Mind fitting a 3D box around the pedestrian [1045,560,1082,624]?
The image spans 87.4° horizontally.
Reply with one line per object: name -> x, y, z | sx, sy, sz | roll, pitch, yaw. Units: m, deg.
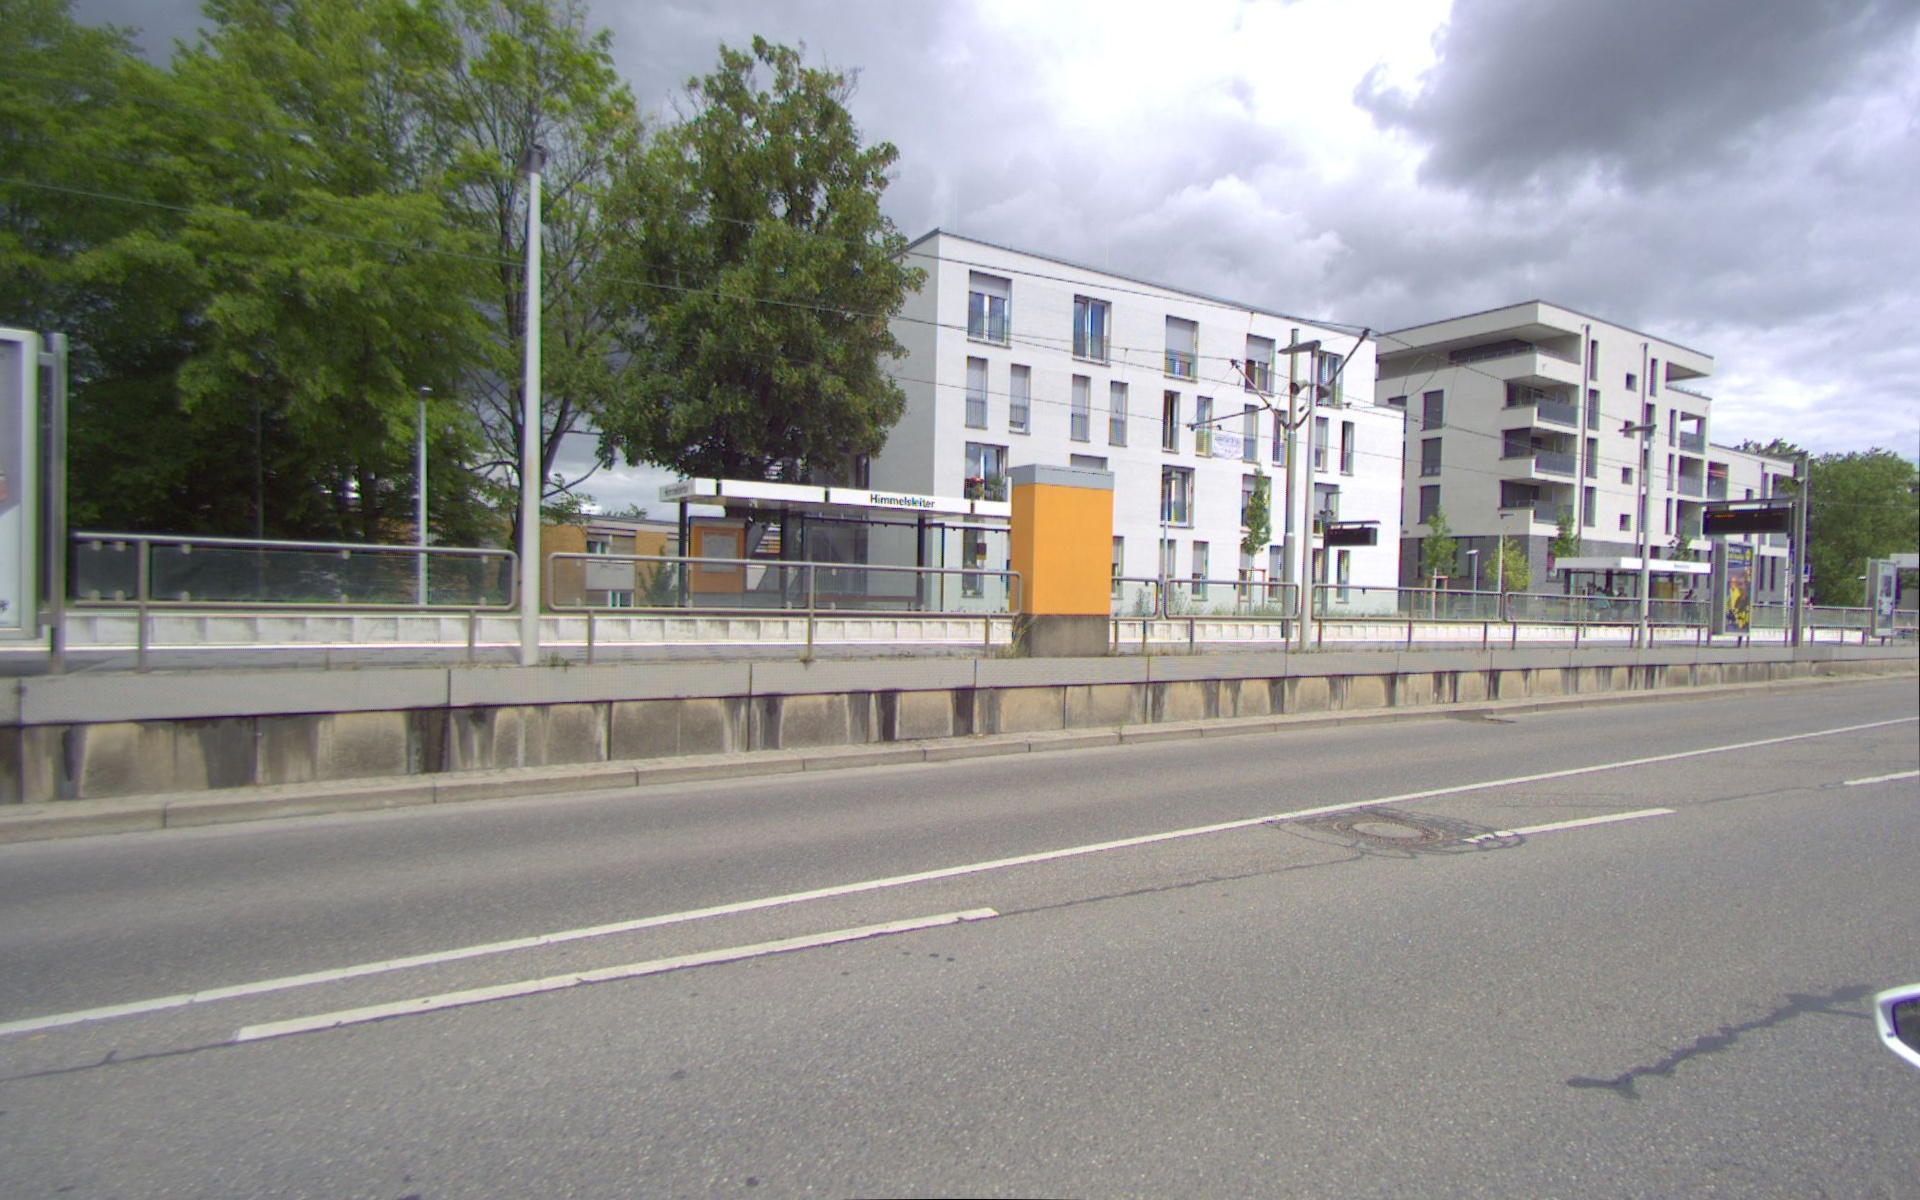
pedestrian -> 2.533, -0.198, 24.637 | 0.540, 1.551, 0.738 | 1, 1, -29

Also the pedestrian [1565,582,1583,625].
pedestrian -> 25.047, 0.143, 41.001 | 0.479, 1.748, 0.677 | 2, 1, 23

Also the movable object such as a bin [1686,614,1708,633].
movable object such as a bin -> 33.289, 1.064, 45.370 | 0.670, 0.861, 0.558 | 1, 1, -31

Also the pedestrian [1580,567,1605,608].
pedestrian -> 25.368, -0.487, 40.309 | 0.664, 1.618, 0.489 | 2, 1, 10

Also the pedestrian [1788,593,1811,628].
pedestrian -> 44.127, 0.553, 52.786 | 0.925, 1.789, 0.671 | 1, 1, -36

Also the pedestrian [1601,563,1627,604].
pedestrian -> 26.310, -0.665, 40.426 | 0.664, 1.618, 0.489 | 1, 1, 2

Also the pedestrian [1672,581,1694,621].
pedestrian -> 33.077, 0.036, 45.943 | 0.670, 1.789, 0.558 | 1, 1, -31

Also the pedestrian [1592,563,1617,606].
pedestrian -> 26.995, -0.656, 42.070 | 0.664, 1.789, 0.489 | 1, 1, 2
